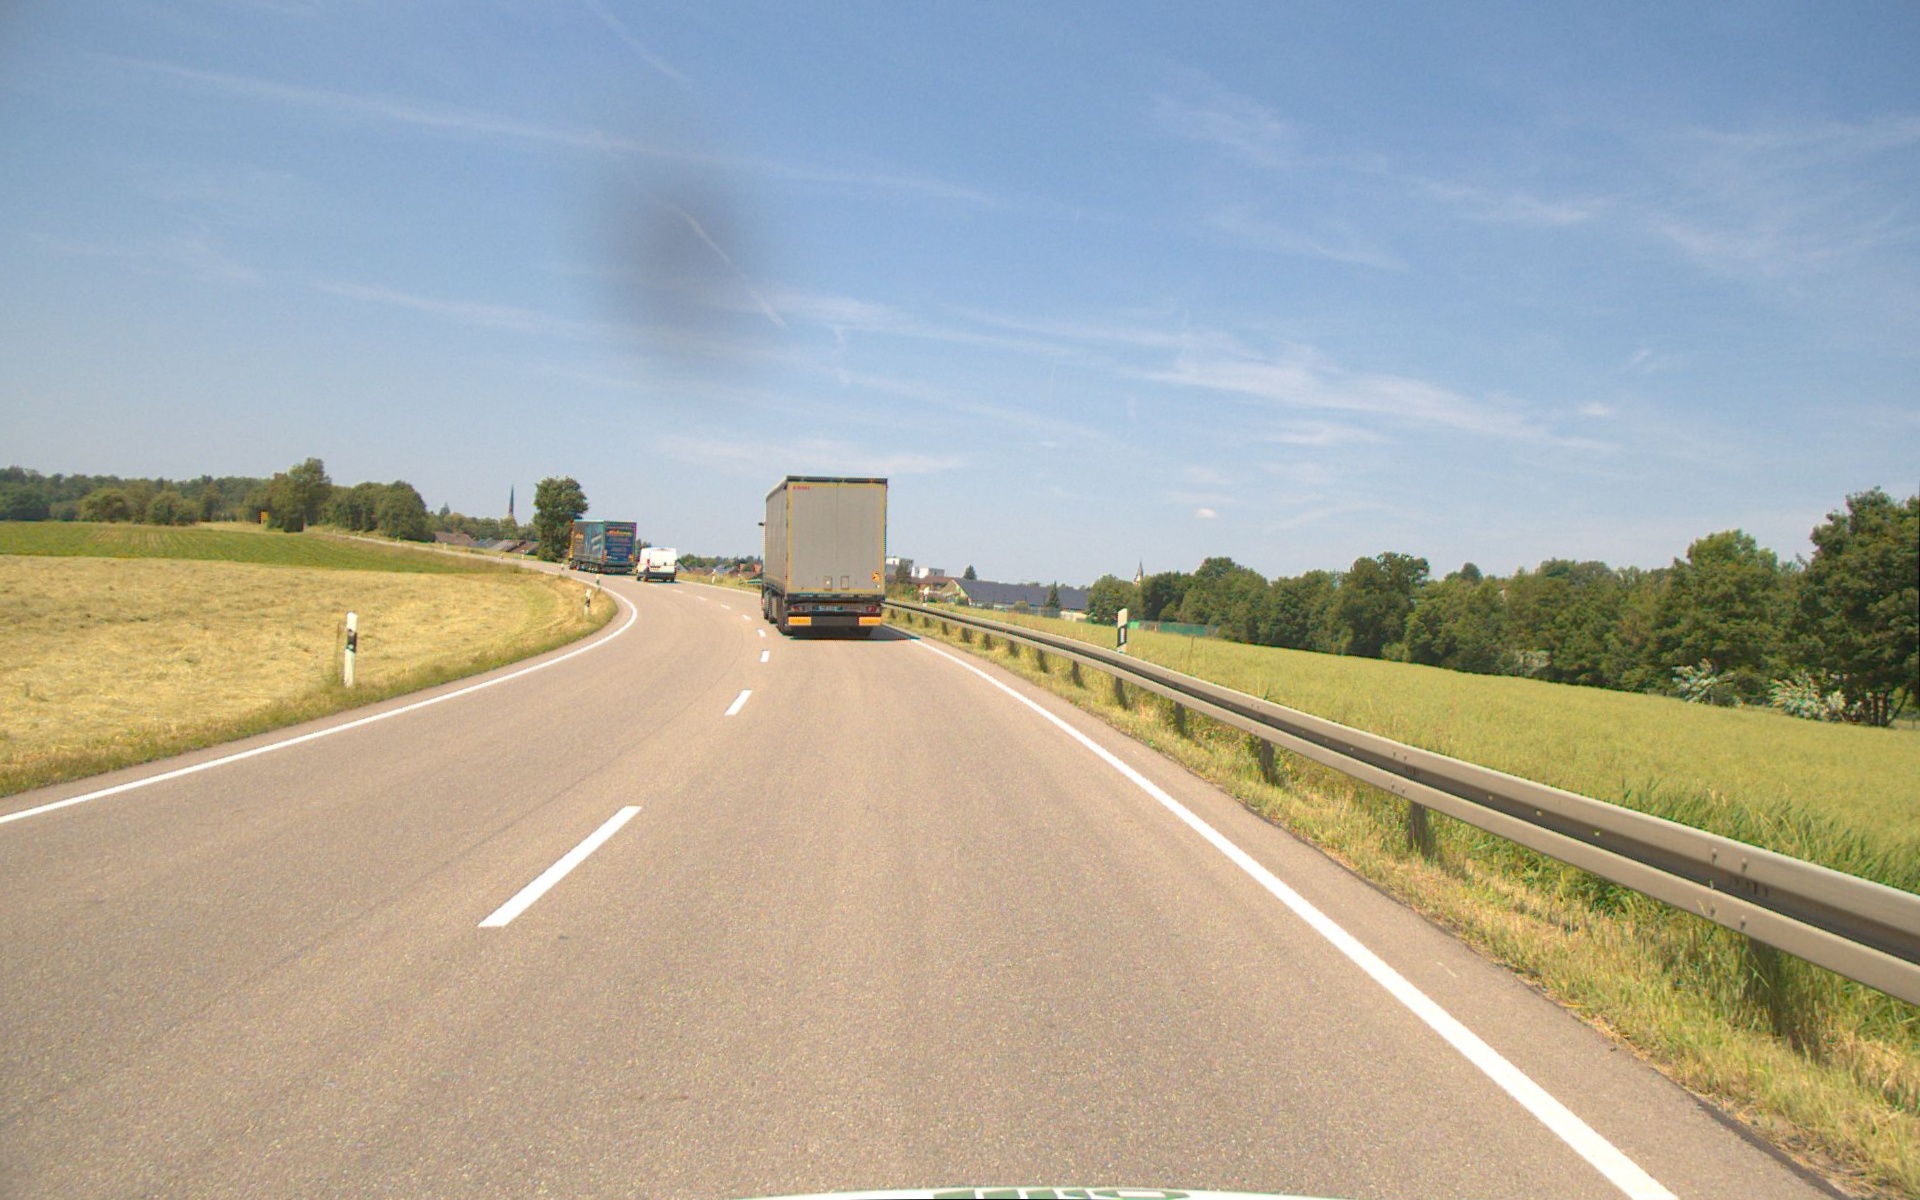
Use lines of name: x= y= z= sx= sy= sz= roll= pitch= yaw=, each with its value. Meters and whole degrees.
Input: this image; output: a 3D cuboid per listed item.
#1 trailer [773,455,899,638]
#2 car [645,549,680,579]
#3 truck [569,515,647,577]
trailer: x=-3.803 y=-1.446 z=47.465 sx=2.813 sy=4.477 sz=13.471 roll=1 pitch=1 yaw=-8
car: x=-20.006 y=-2.418 z=111.175 sx=1.699 sy=1.905 sz=3.979 roll=2 pitch=1 yaw=-19
truck: x=-28.703 y=-4.328 z=133.951 sx=3.497 sy=4.468 sz=18.015 roll=3 pitch=1 yaw=-20
